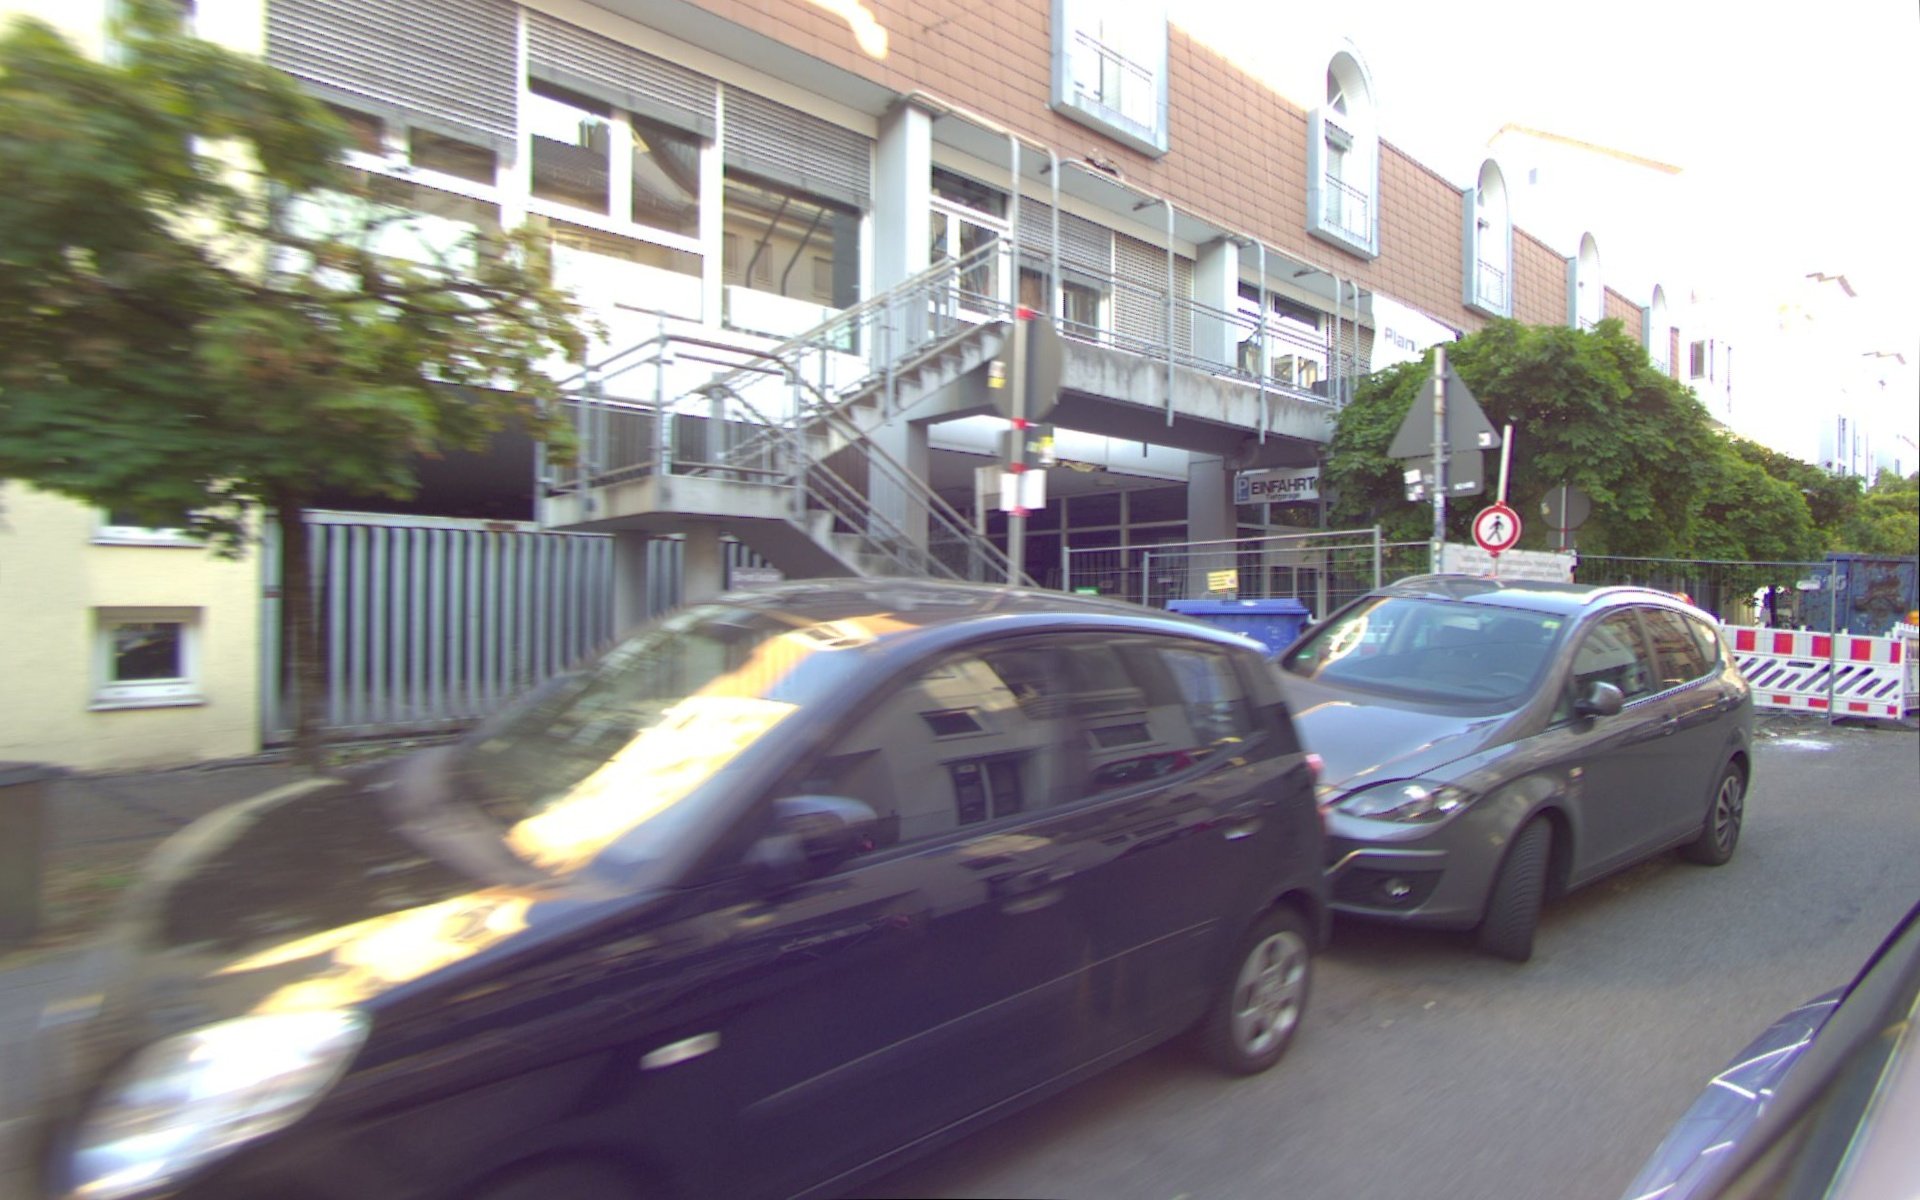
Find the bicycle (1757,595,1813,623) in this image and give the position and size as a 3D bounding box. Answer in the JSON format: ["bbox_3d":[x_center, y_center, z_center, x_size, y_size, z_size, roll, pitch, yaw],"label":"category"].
[{"bbox_3d":[36.711,0.405,45.056,0.555,1.181,1.884,0,1,-45],"label":"bicycle"}]

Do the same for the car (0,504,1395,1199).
[{"bbox_3d":[-0.358,0.672,3.015,3.629,1.577,1.624,0,-1,-41],"label":"car"}]

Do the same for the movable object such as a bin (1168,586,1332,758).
[{"bbox_3d":[2.529,0.599,8.793,1.241,1.394,0.795,-2,-1,24],"label":"movable object such as a bin"}]

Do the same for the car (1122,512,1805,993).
[{"bbox_3d":[3.071,0.544,5.695,4.444,1.705,1.752,0,-1,-39],"label":"car"}]

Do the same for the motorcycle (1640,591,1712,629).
[{"bbox_3d":[24.678,0.323,34.875,2.406,1.238,0.874,-1,1,-23],"label":"motorcycle"}]
